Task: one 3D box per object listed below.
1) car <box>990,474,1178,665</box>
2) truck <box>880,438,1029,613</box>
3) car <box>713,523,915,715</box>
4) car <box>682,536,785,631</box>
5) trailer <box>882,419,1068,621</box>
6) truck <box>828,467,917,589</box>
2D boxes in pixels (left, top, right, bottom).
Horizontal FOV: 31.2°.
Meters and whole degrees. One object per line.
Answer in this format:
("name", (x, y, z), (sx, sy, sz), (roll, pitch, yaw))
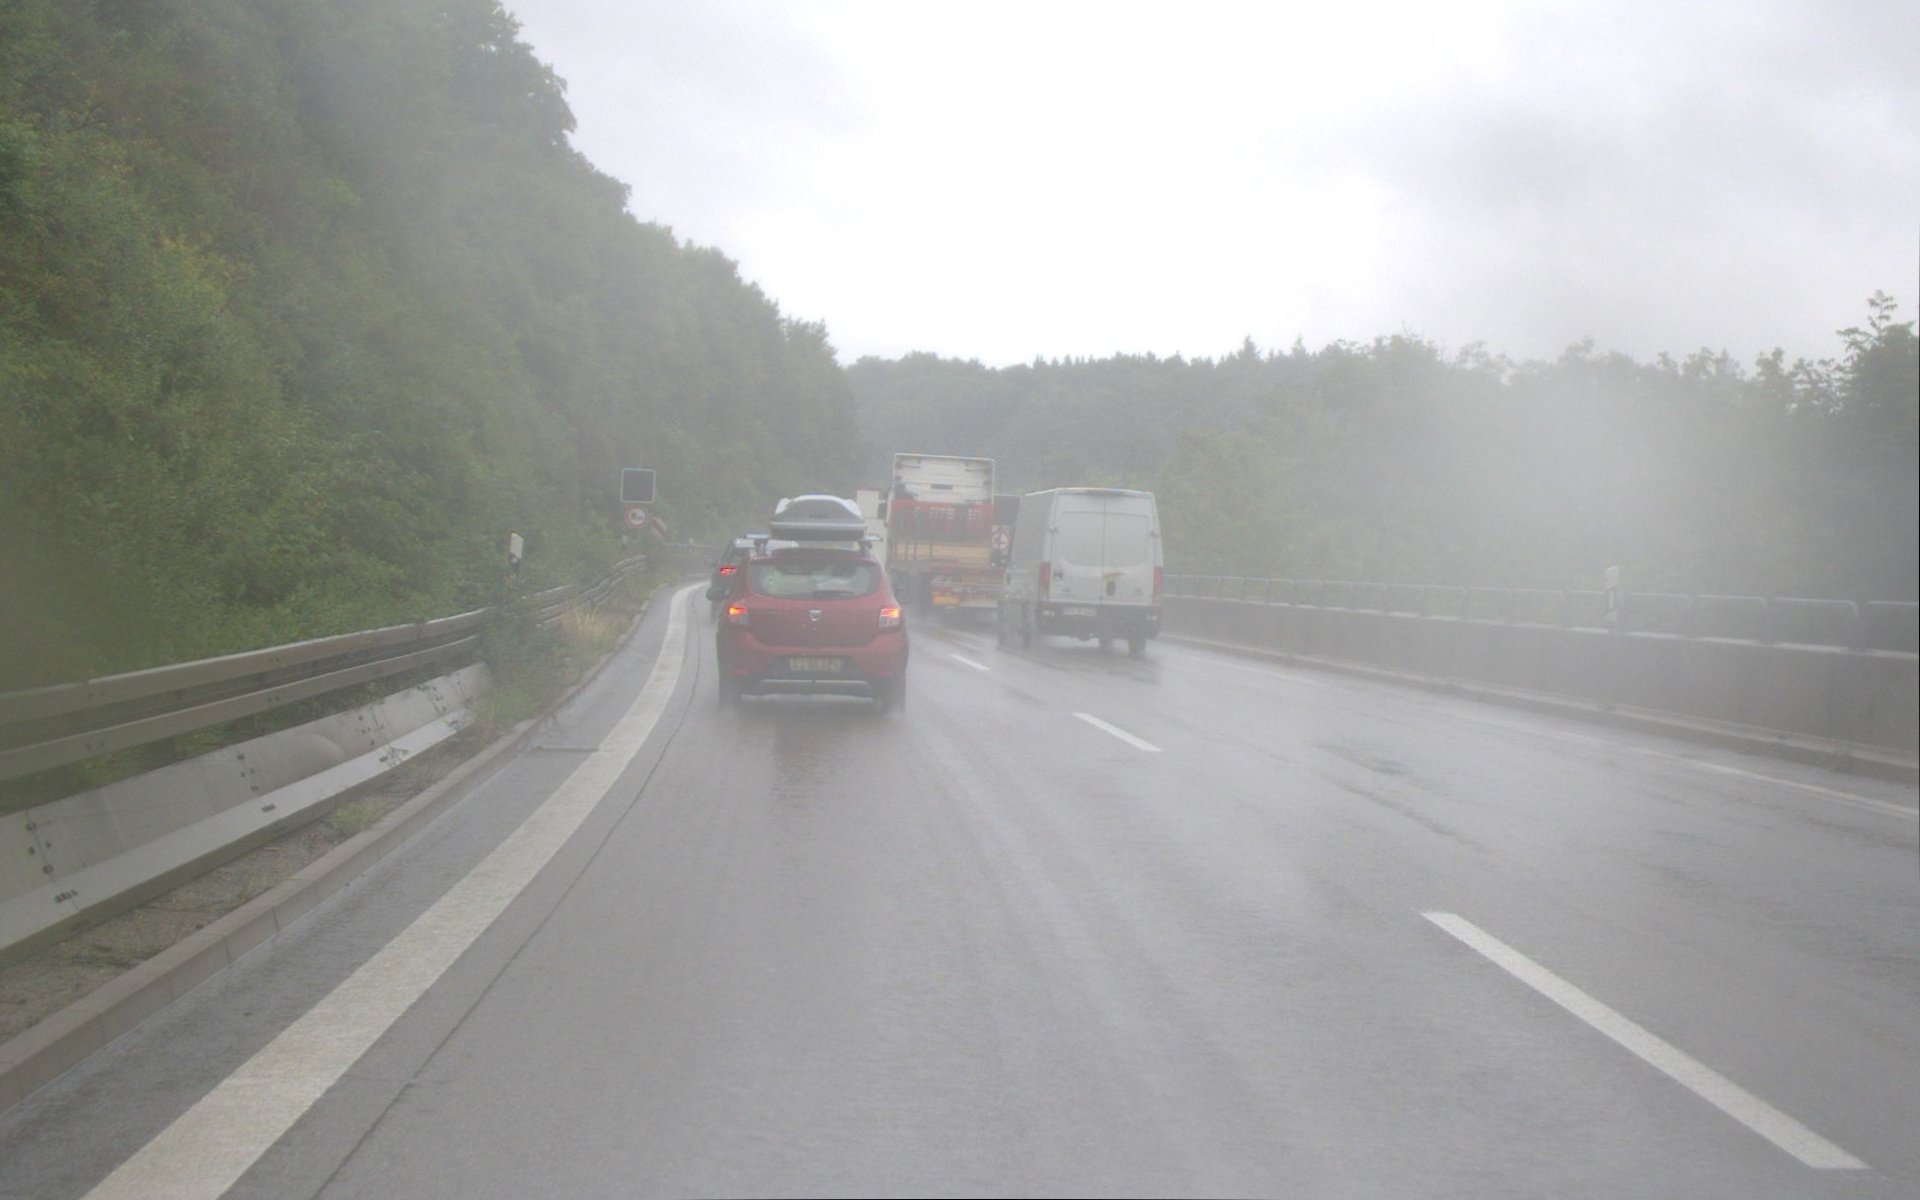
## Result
("car", (1.937, -0.522, 56.512), (2.206, 2.784, 7.383), (4, 1, -3))
("truck", (-0.184, -1.794, 83.950), (3.219, 3.964, 5.439), (3, 0, -3))
("car", (-1.427, 0.157, 32.334), (1.758, 1.679, 4.001), (1, 0, -4))
("car", (-4.193, -0.304, 63.692), (1.823, 1.690, 4.000), (1, 0, -4))
("trailer", (0.149, -1.726, 77.272), (3.218, 3.985, 13.525), (3, 1, -3))
("truck", (-3.534, -2.802, 136.537), (3.222, 4.666, 8.301), (1, 0, -3))
